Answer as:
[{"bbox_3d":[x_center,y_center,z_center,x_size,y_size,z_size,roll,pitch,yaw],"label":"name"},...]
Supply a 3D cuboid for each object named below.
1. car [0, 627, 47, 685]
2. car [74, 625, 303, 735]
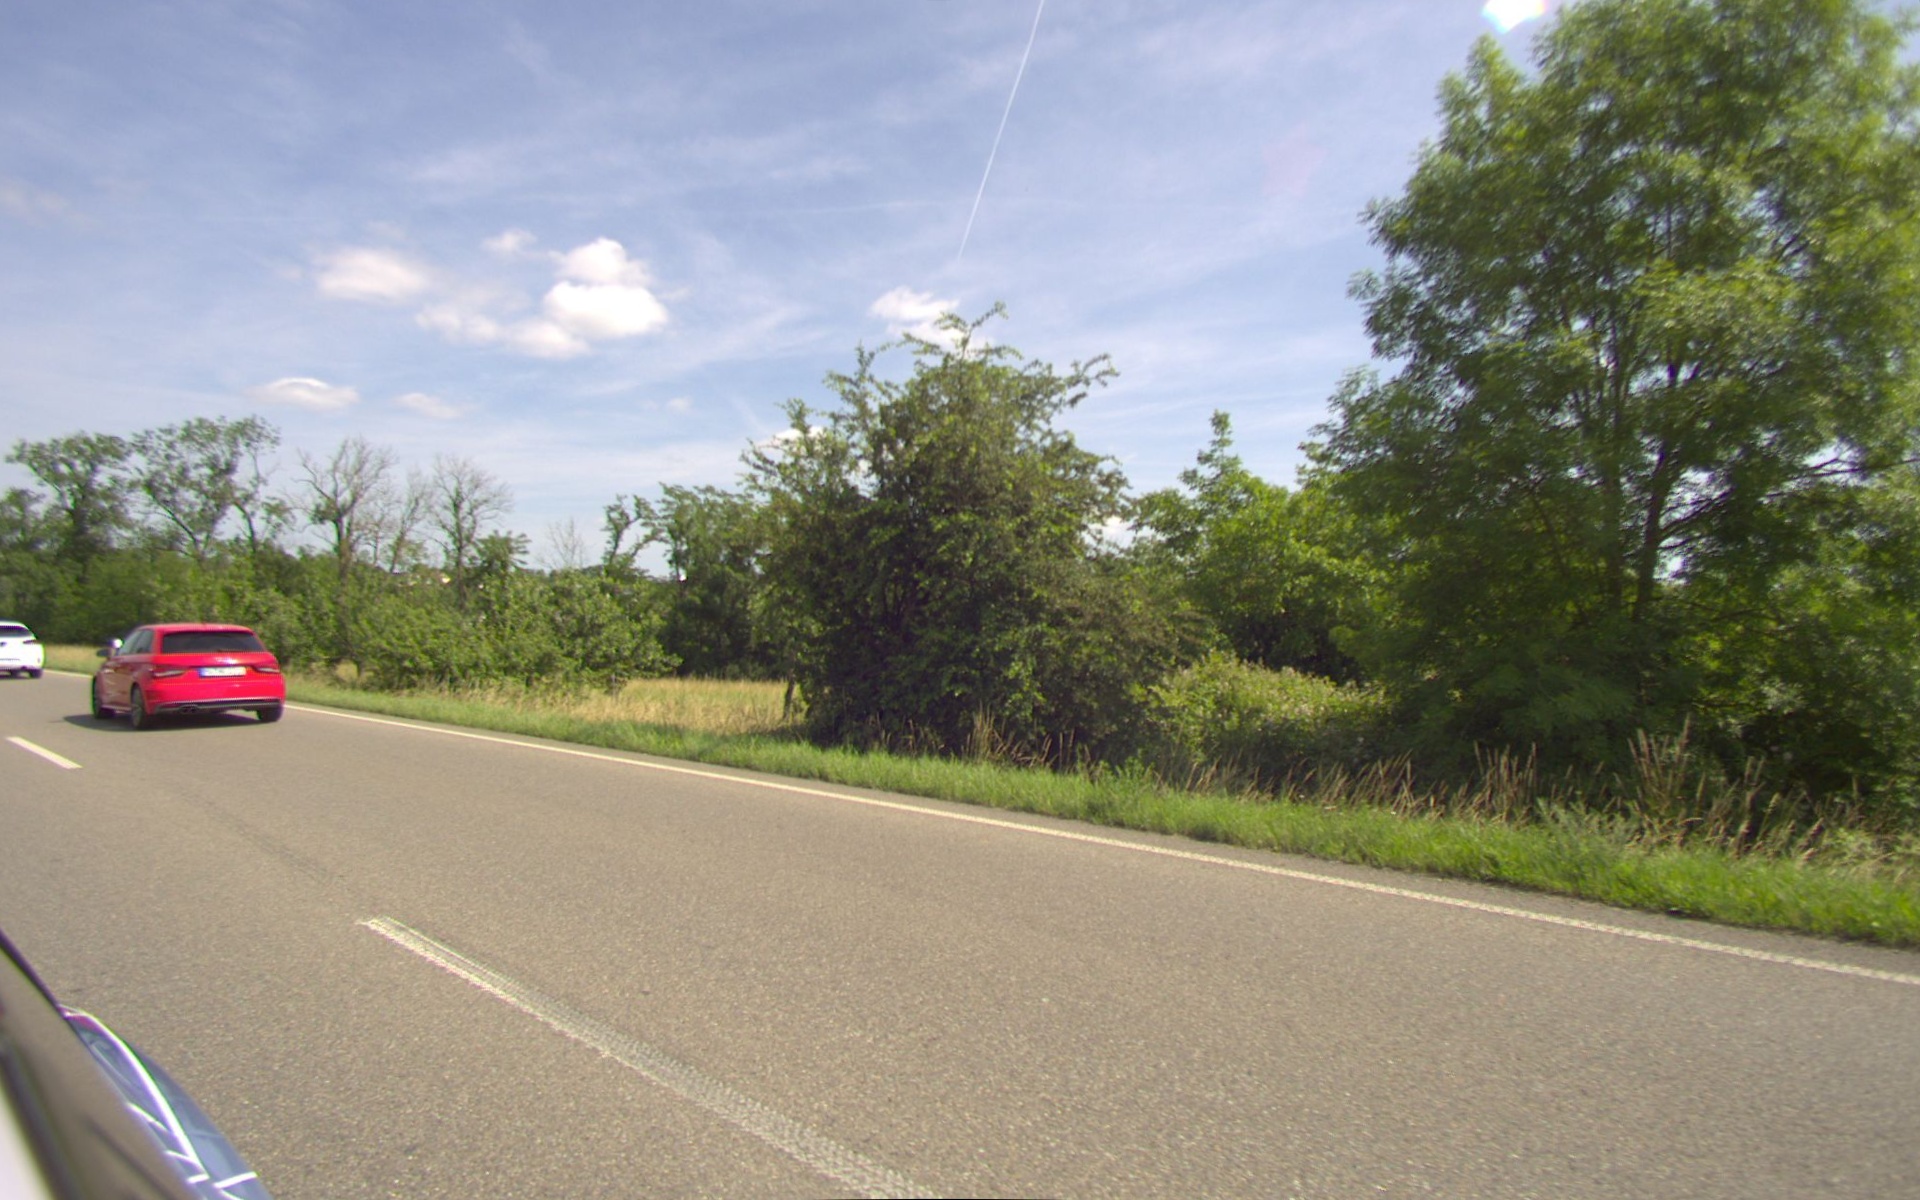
[{"bbox_3d":[-25.067,1.425,26.001,3.767,1.425,1.734,-2,-3,38],"label":"car"},{"bbox_3d":[-11.516,1.078,15.022,4.179,1.409,1.802,-1,-2,40],"label":"car"}]
